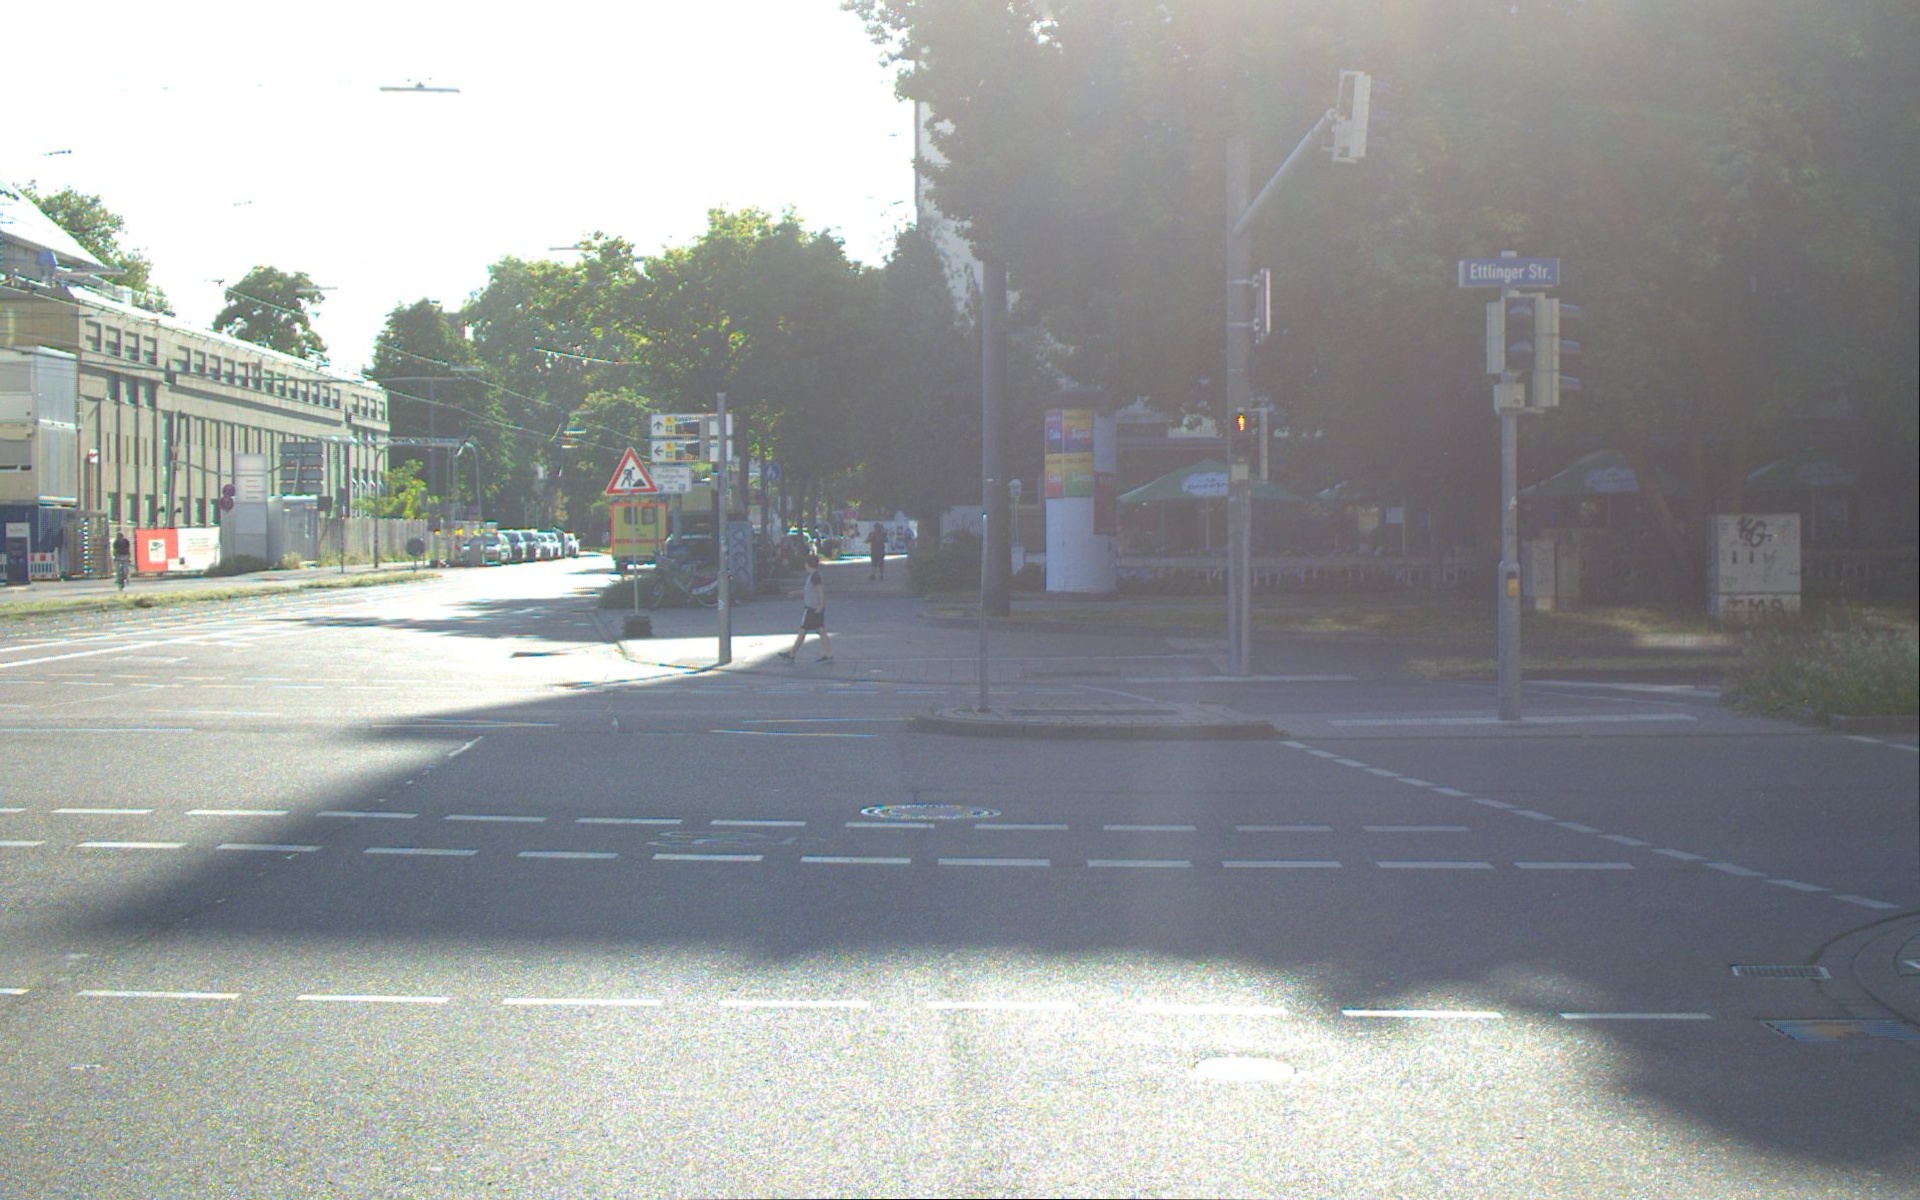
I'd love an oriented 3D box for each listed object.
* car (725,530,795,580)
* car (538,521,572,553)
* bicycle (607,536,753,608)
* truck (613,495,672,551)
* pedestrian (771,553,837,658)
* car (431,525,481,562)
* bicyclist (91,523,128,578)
[{"bbox_3d":[-5.318,-1.209,91.840,1.819,1.274,4.001,0,1,-3],"label":"car"},{"bbox_3d":[-22.825,-3.567,193.935,1.483,1.744,4.000,-1,1,-1],"label":"car"},{"bbox_3d":[-5.465,-0.554,67.141,2.748,1.363,0.630,1,0,11],"label":"bicycle"},{"bbox_3d":[-12.079,-2.915,130.983,1.915,2.085,4.000,-1,1,-1],"label":"truck"},{"bbox_3d":[-1.999,0.070,44.091,0.752,1.328,0.742,0,1,4],"label":"pedestrian"},{"bbox_3d":[-22.878,-2.572,156.160,1.731,1.647,4.000,0,1,-1],"label":"car"},{"bbox_3d":[-25.489,-1.490,103.065,0.875,1.636,0.822,0,1,1],"label":"bicyclist"}]
